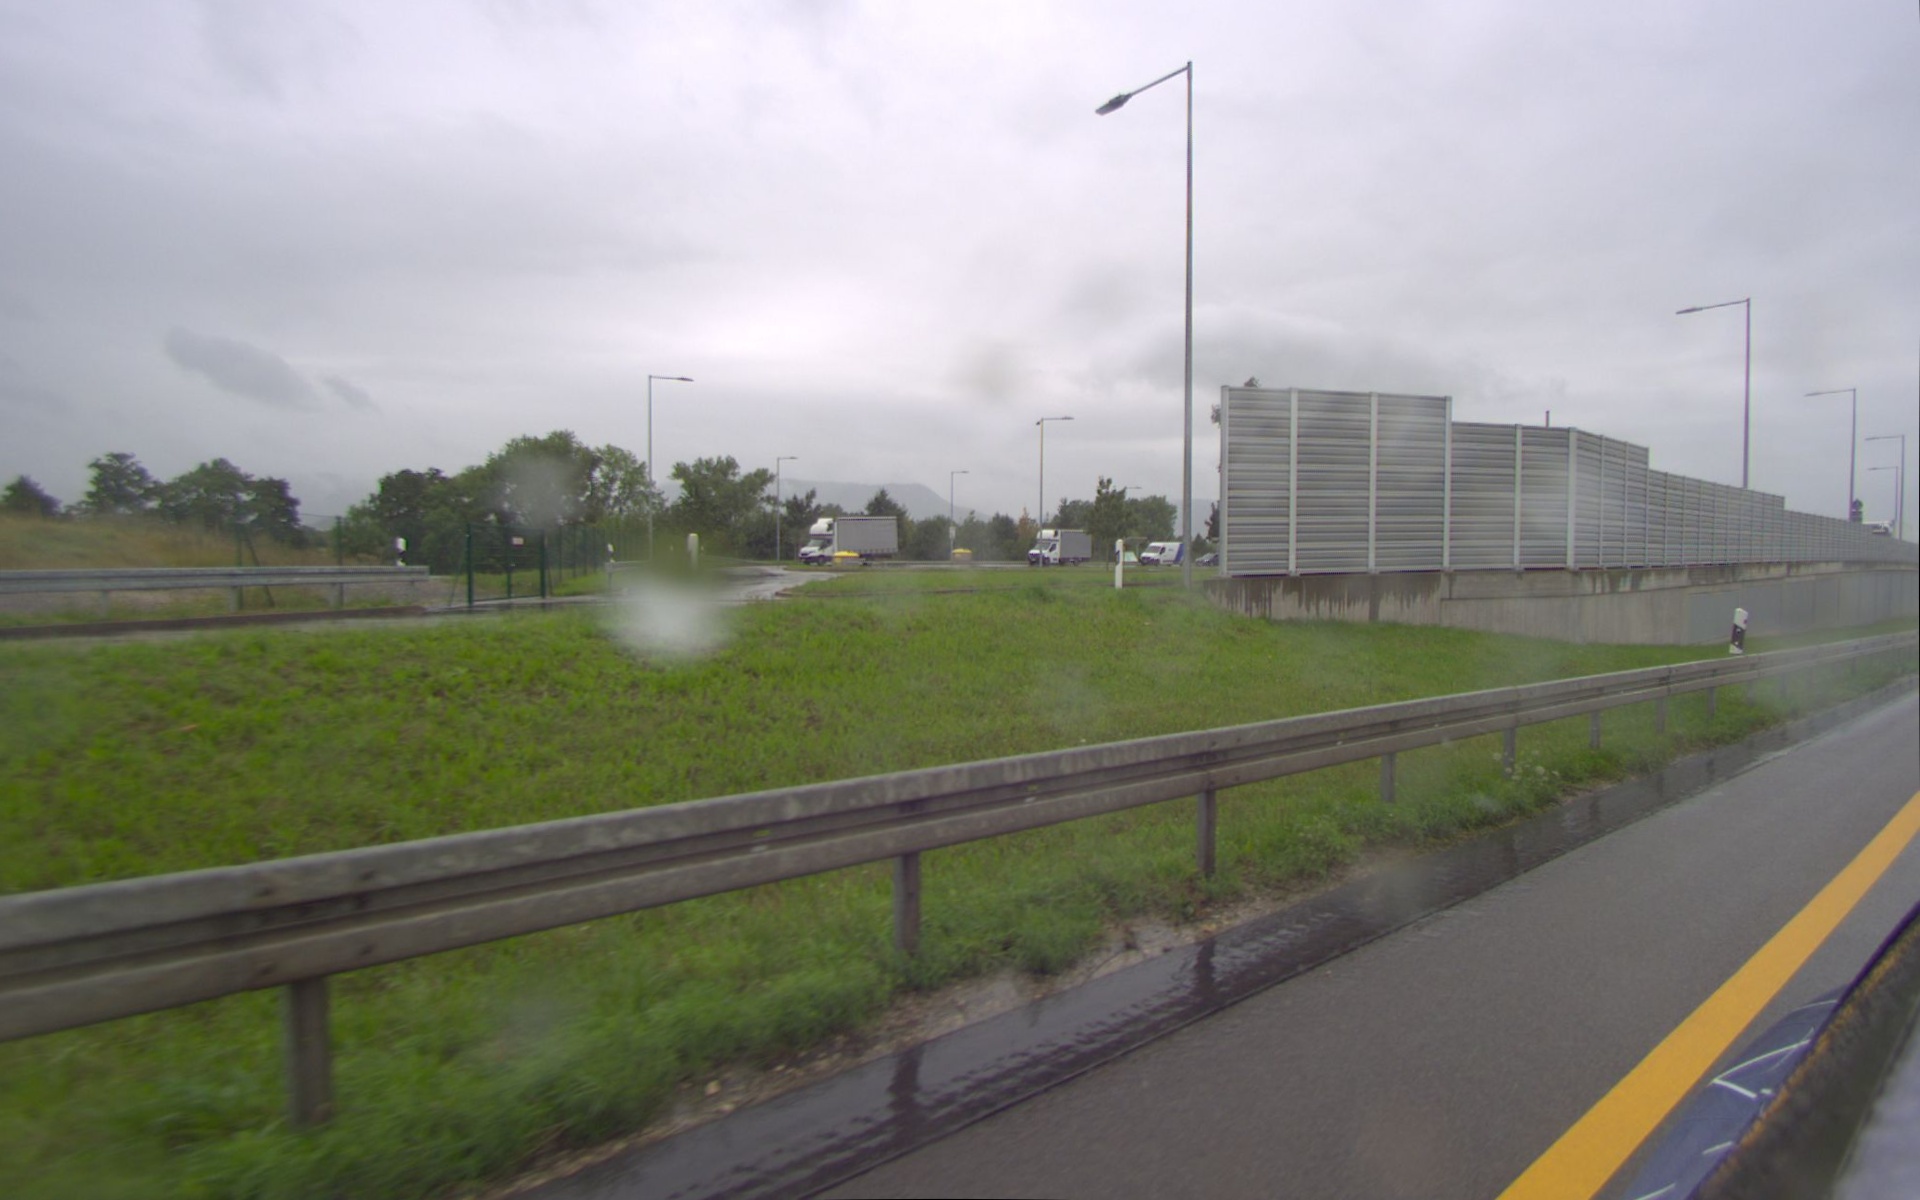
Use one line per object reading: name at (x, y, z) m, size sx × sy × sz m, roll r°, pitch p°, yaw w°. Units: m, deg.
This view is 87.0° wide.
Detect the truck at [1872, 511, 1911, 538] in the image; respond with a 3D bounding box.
truck at (77.156, -6.226, 83.808) m, size 3.989 × 2.039 × 1.997 m, roll -2°, pitch 1°, yaw -41°

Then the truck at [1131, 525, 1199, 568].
truck at (21.420, -5.548, 105.519) m, size 7.741 × 4.254 × 2.867 m, roll -2°, pitch 1°, yaw -41°

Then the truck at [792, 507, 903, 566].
truck at (-8.616, -4.831, 78.685) m, size 2.862 × 4.254 × 8.838 m, roll 0°, pitch 1°, yaw 44°

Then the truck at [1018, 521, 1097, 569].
truck at (9.175, -5.105, 94.705) m, size 7.741 × 4.254 × 2.867 m, roll -2°, pitch 1°, yaw -41°
